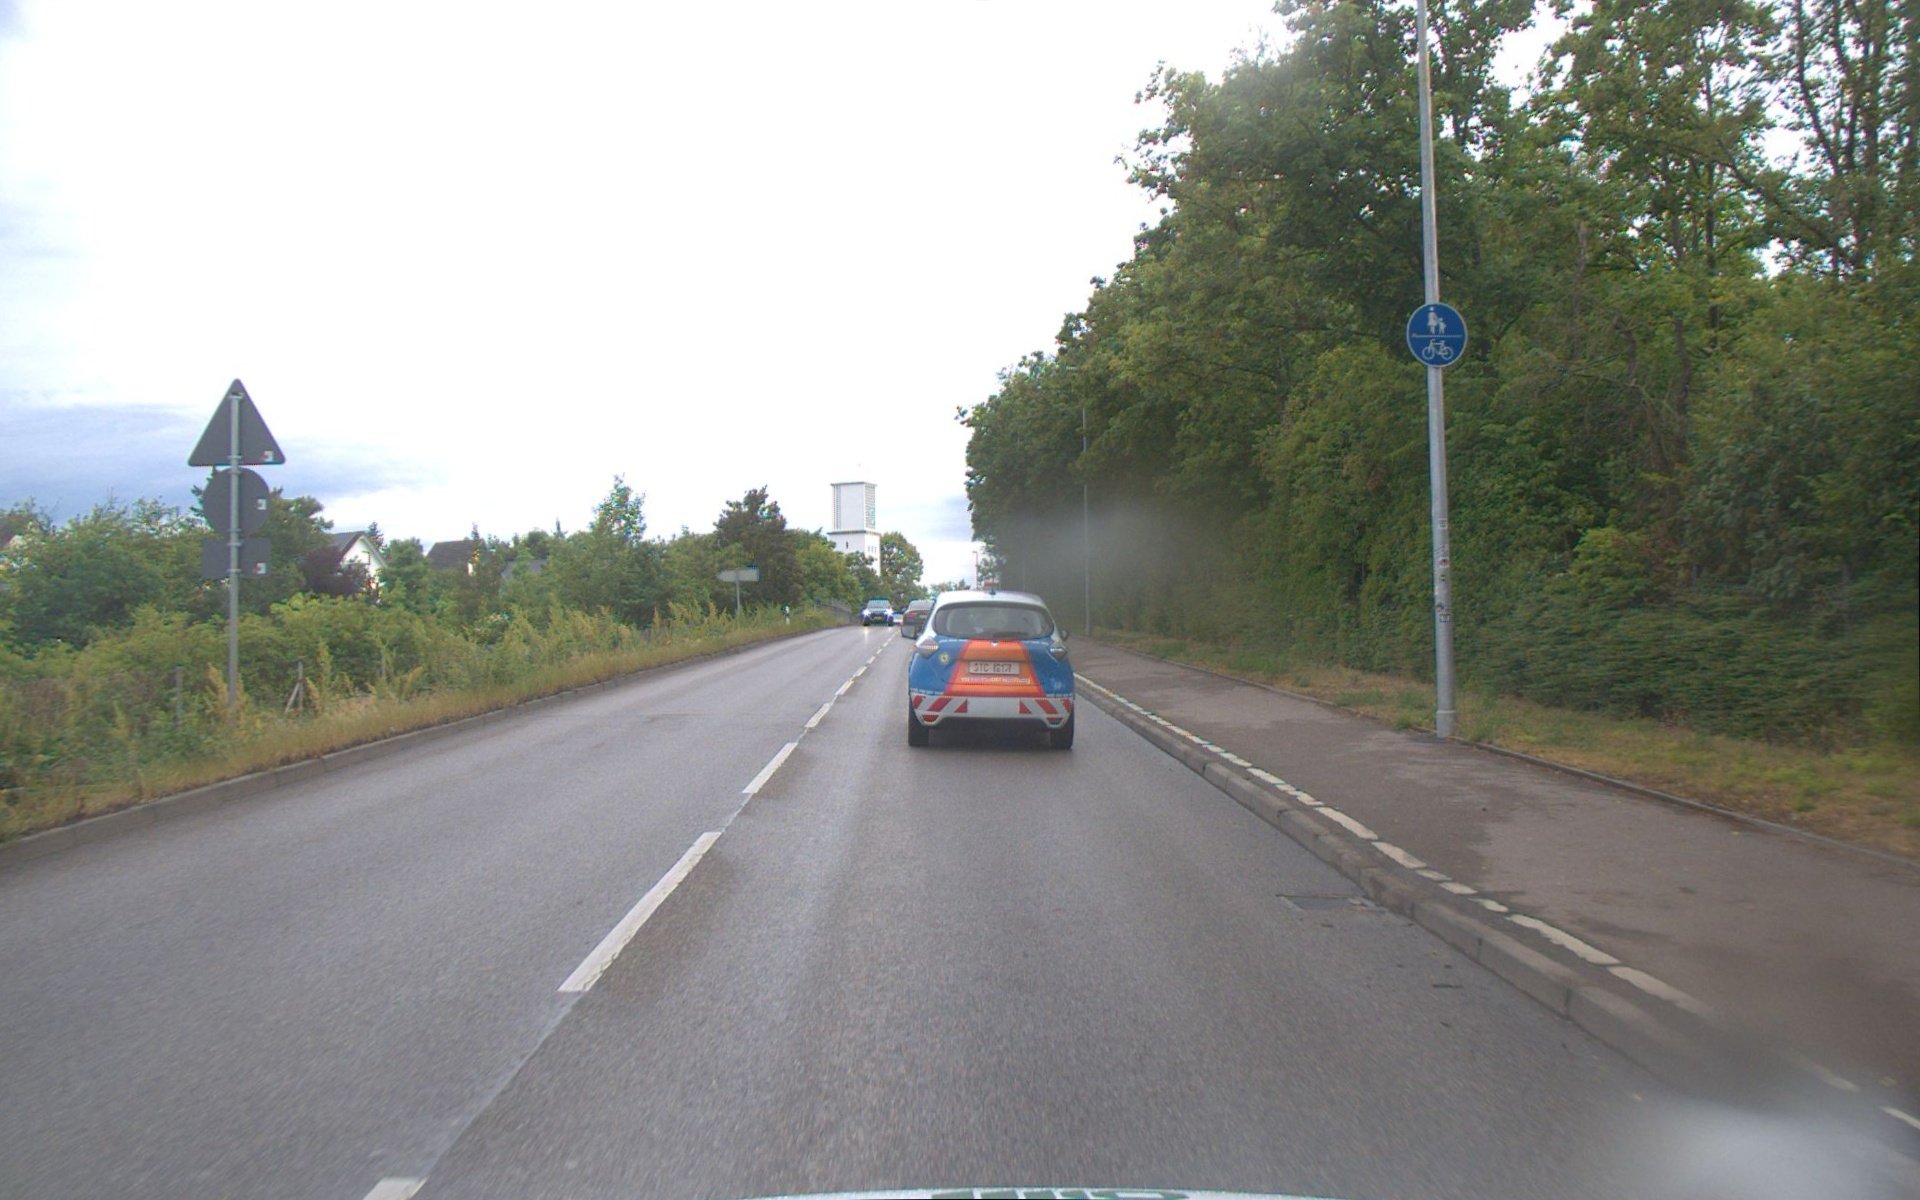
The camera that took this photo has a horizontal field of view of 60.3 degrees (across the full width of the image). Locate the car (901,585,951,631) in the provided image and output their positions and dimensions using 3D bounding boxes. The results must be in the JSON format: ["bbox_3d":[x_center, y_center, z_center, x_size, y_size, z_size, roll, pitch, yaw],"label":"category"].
[{"bbox_3d":[-1.319,0.317,63.079,1.766,1.618,3.561,-2,-1,-3],"label":"car"}]

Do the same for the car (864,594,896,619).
[{"bbox_3d":[-5.122,0.394,106.304,1.830,1.613,4.414,0,0,0],"label":"car"}]

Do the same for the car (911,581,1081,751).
[{"bbox_3d":[0.311,0.668,17.726,1.624,1.621,3.567,0,-1,-1],"label":"car"}]

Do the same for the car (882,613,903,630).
[{"bbox_3d":[-6.036,1.933,148.950,1.824,1.530,4.726,0,0,-2],"label":"car"}]
